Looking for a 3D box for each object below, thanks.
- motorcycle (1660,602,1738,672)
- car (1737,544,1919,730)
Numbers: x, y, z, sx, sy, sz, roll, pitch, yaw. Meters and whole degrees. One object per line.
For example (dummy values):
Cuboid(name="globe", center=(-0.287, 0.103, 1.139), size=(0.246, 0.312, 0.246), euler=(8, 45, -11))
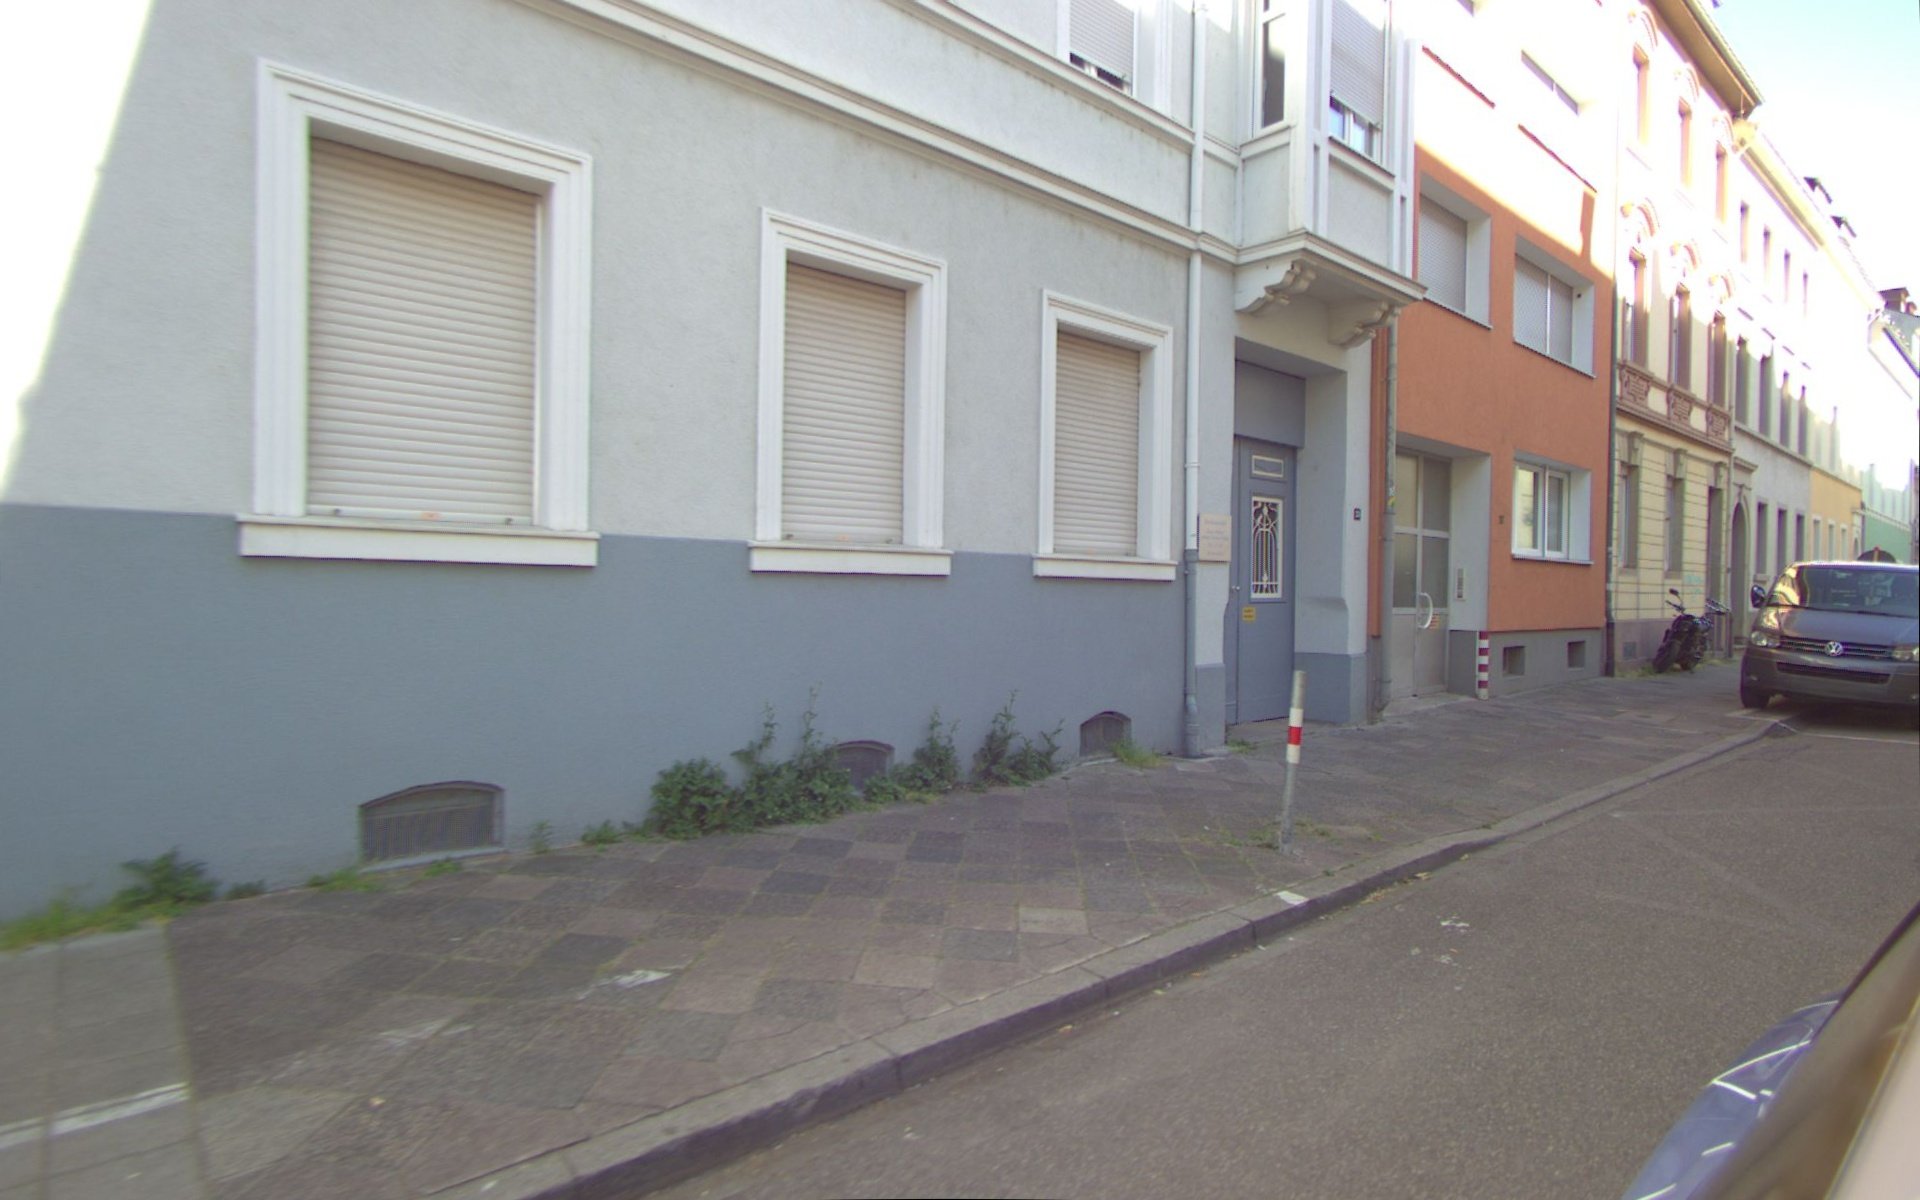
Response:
Cuboid(name="motorcycle", center=(12.591, 0.588, 17.209), size=(2.323, 1.057, 0.637), euler=(-2, 2, -43))
Cuboid(name="car", center=(11.982, 0.391, 13.276), size=(4.815, 2.054, 1.972), euler=(-1, 0, -42))
